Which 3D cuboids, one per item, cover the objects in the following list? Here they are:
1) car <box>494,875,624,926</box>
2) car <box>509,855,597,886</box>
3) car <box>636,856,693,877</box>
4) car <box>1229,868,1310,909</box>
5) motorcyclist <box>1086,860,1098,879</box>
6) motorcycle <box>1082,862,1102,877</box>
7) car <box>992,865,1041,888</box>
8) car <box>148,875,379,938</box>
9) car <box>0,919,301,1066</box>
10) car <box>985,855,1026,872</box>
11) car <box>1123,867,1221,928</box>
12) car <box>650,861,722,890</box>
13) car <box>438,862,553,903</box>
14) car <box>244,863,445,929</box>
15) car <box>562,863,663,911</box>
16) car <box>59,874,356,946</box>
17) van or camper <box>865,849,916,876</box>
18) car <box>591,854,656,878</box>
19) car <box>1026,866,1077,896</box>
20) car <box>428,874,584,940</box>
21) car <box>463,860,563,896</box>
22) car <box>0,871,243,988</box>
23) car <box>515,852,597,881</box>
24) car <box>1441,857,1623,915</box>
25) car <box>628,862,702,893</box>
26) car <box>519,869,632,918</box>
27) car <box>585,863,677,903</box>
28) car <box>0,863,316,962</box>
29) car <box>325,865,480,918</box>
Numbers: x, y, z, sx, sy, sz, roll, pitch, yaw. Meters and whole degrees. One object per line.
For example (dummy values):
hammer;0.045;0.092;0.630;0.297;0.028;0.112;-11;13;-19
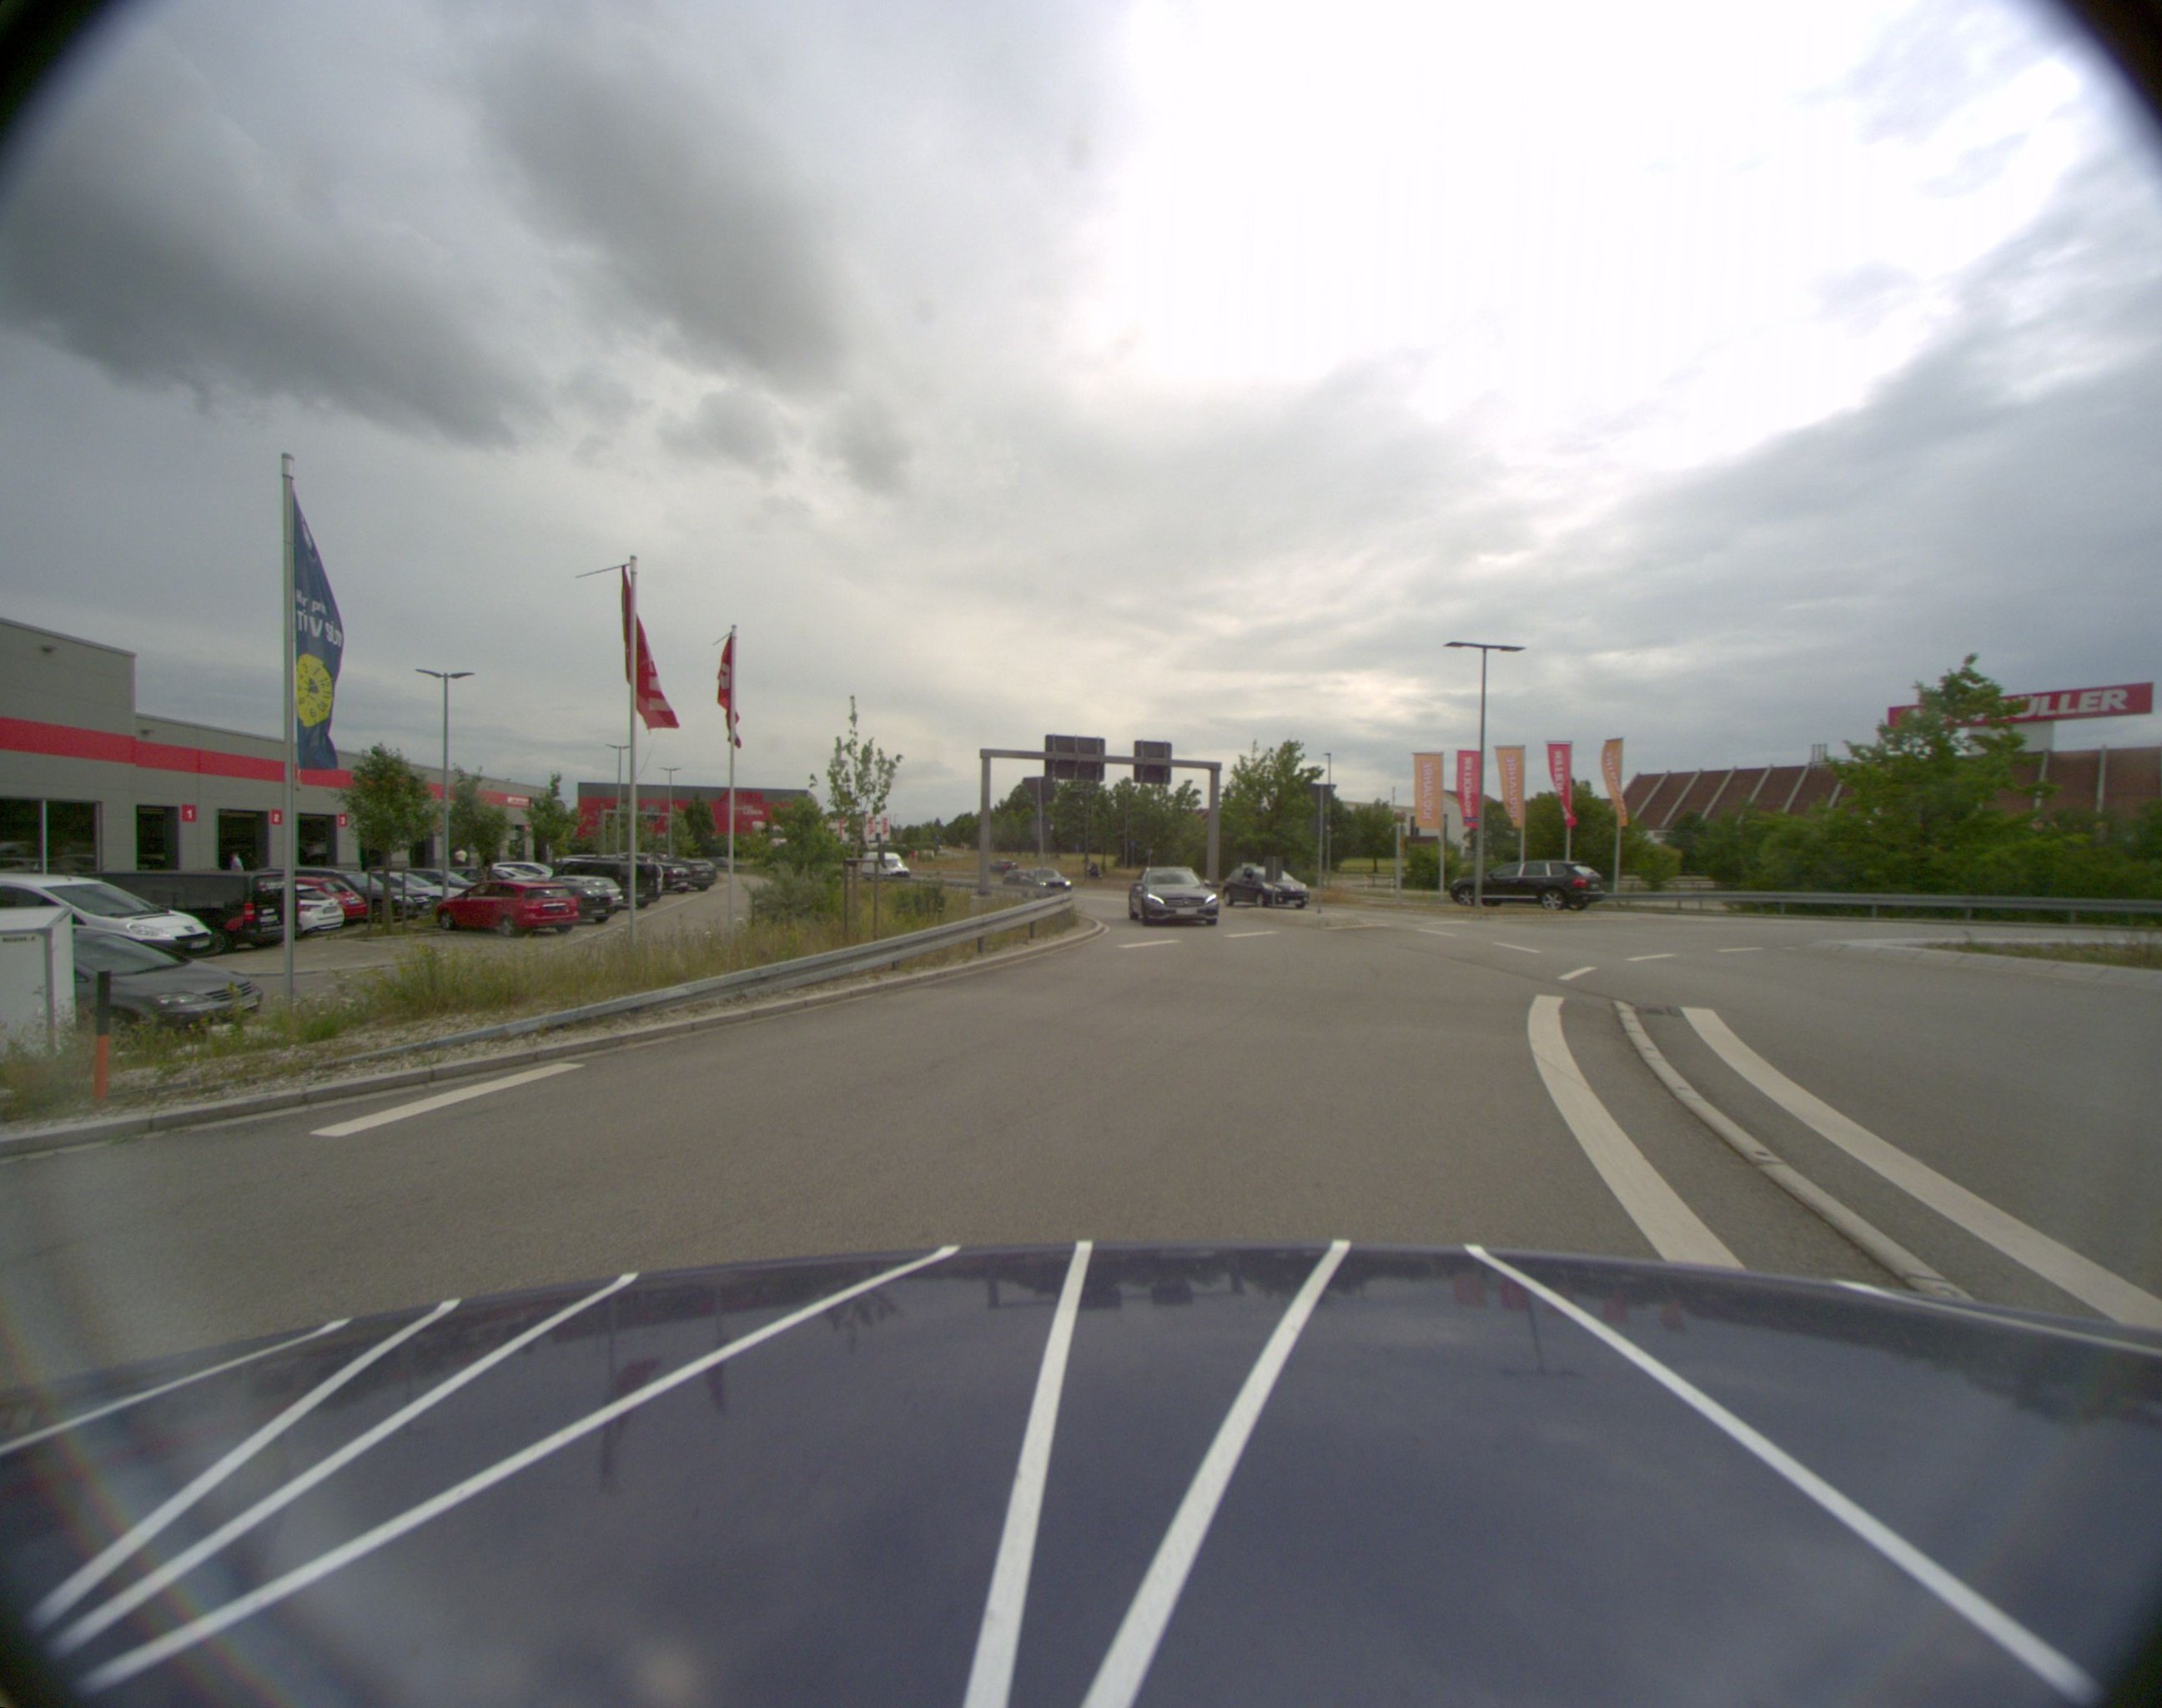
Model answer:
car;-17.913;1.540;26.065;4.067;1.570;1.774;0;0;23
car;-29.496;0.886;42.549;3.703;1.536;1.588;-2;1;-20
car;-33.105;1.005;60.476;3.703;1.536;1.588;-2;1;-20
car;6.705;1.198;27.388;1.581;1.346;3.822;-1;-1;-6
motorcyclist;0.877;1.323;63.088;0.675;1.566;0.845;1;-1;-27
motorcycle;0.882;1.263;63.084;0.704;1.222;2.245;1;-1;-26
car;-4.765;1.621;55.812;1.864;1.404;3.928;-1;2;-34
car;-23.389;1.448;21.948;4.205;1.491;1.588;-2;1;-20
car;-14.549;1.873;10.517;4.840;1.666;1.962;0;1;-21
car;-7.420;0.910;74.571;1.896;1.459;4.268;-5;4;-39
car;2.241;1.101;19.789;1.765;1.411;4.091;0;-2;-4
car;-22.857;1.264;43.923;4.066;1.612;1.740;-1;-1;30
car;-26.080;1.239;33.967;3.703;1.629;1.588;-2;1;-20
car;-23.091;1.266;24.025;4.205;1.826;1.588;-2;1;-20
car;-19.831;1.355;32.138;4.066;1.896;1.910;0;-1;29
car;-22.254;1.409;19.650;4.680;1.631;1.912;2;0;-20
van or camper;-17.564;0.715;69.781;2.057;2.351;5.524;-2;2;-43
car;-32.737;0.843;54.460;3.703;1.536;1.588;-2;1;-20
car;-1.724;1.455;42.471;1.862;1.404;4.550;-1;1;-15
car;-17.260;1.535;22.832;4.067;1.571;1.773;3;2;19
car;-28.684;1.162;38.509;3.703;1.629;1.588;-2;1;-20
car;-20.125;1.387;14.569;5.084;2.035;1.996;0;1;-21
car;-31.224;0.718;45.307;3.703;1.536;1.588;-2;1;-20
car;15.534;1.003;26.385;2.110;1.780;5.037;-1;1;-42
car;-22.605;1.276;41.270;4.066;1.612;1.654;-1;-1;29
car;-19.482;1.472;29.271;4.066;1.570;1.775;2;0;26
car;-21.058;1.309;35.544;4.066;1.701;1.910;0;0;29
car;-21.082;1.258;17.069;5.084;1.961;1.996;1;0;-21
car;-23.882;1.291;26.909;3.703;1.629;1.588;-2;1;-20
